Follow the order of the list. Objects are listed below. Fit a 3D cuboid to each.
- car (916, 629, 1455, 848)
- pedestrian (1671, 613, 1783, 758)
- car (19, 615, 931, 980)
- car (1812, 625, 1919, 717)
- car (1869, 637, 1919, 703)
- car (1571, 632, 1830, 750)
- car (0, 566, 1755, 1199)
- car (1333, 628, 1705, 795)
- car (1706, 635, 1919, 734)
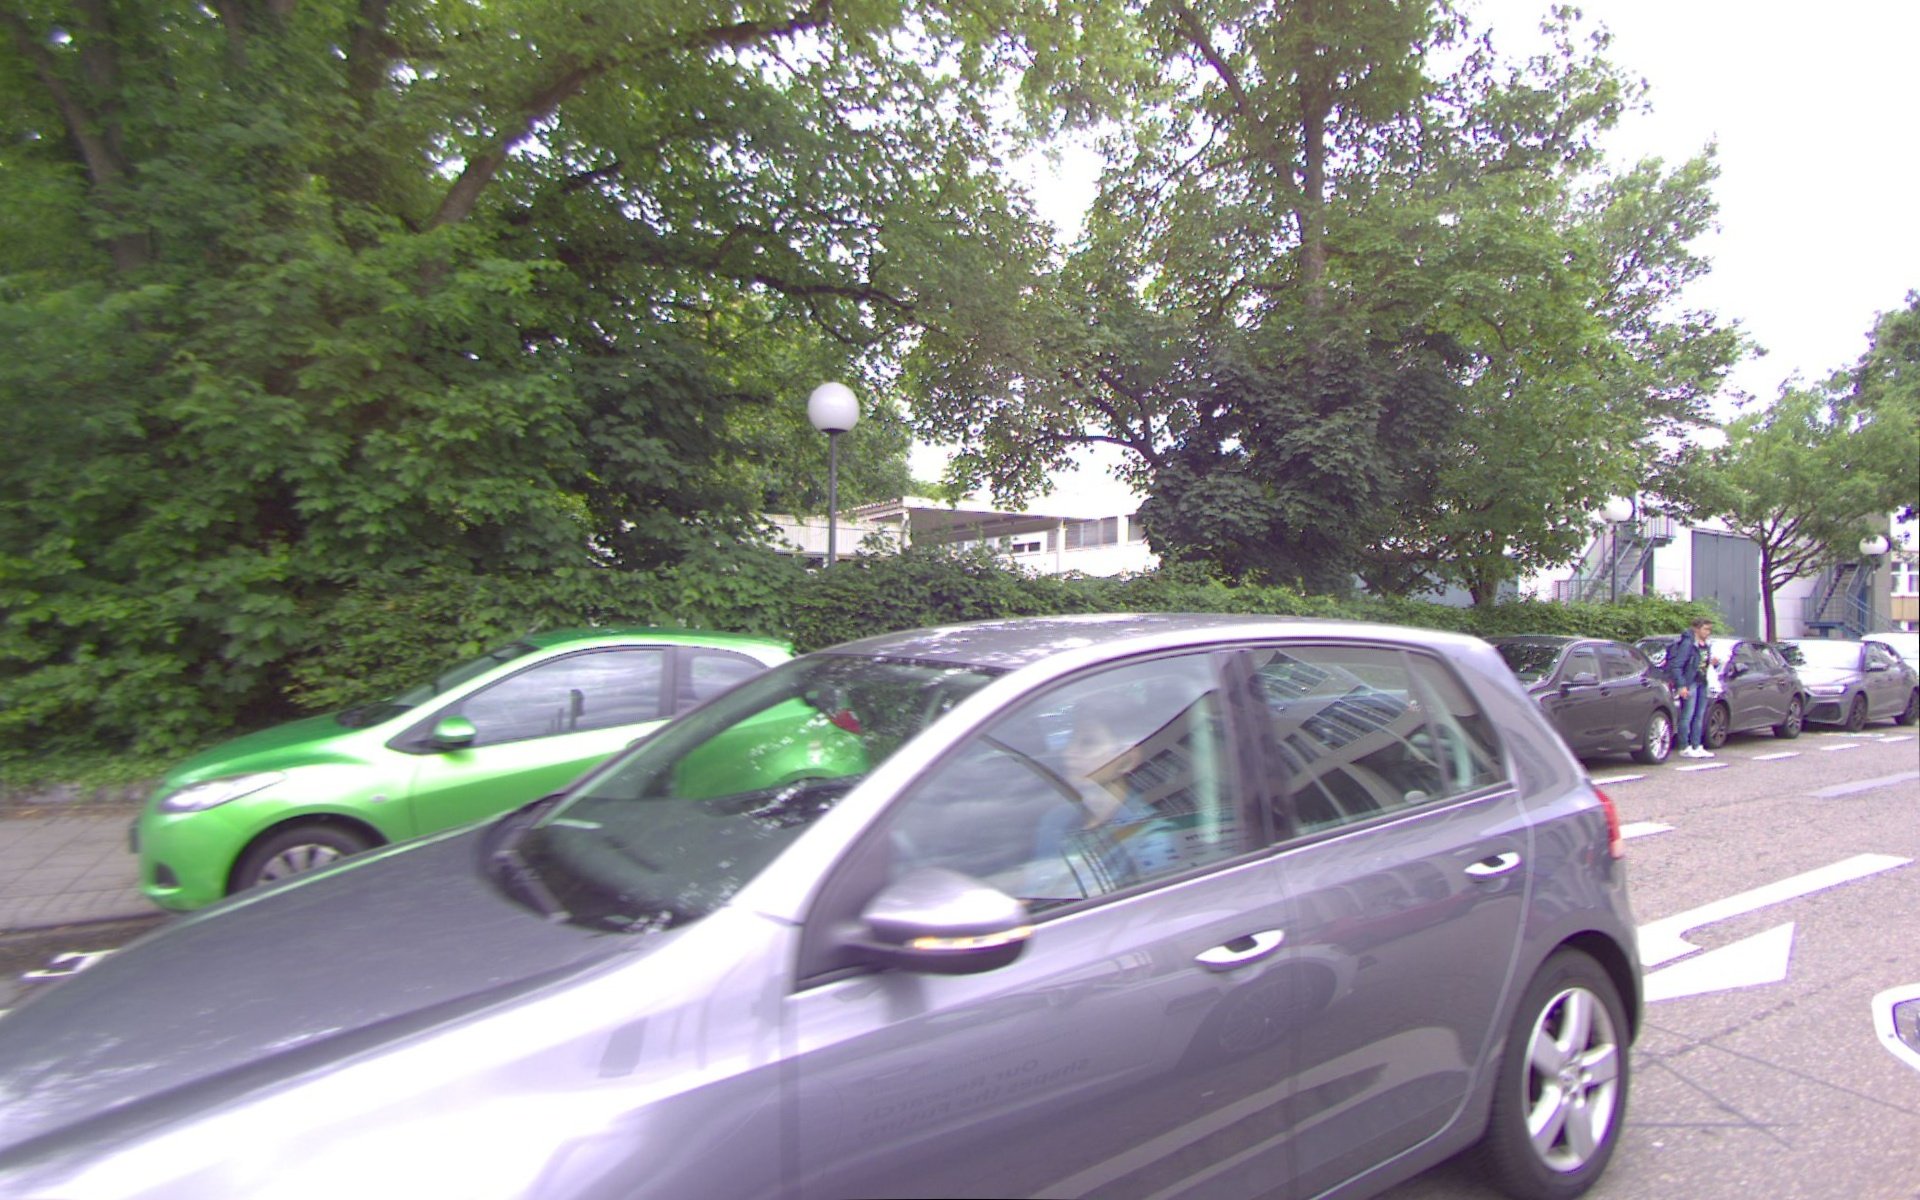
[{"bbox_3d":[1.940,0.985,8.394,4.282,1.426,1.791,2,-2,-28],"label":"car"},{"bbox_3d":[9.338,1.011,12.231,0.956,1.683,0.735,0,-2,-29],"label":"pedestrian"},{"bbox_3d":[-2.438,0.882,5.941,4.197,1.489,1.790,2,-2,-30],"label":"car"},{"bbox_3d":[18.429,1.311,19.601,3.835,1.607,1.706,1,-1,-32],"label":"car"},{"bbox_3d":[22.541,1.567,22.874,4.150,1.407,1.807,1,-1,-34],"label":"car"},{"bbox_3d":[10.765,1.233,14.565,3.782,1.490,1.753,2,-2,-32],"label":"car"},{"bbox_3d":[0.082,0.795,2.573,4.121,1.517,1.774,2,-2,-32],"label":"car"},{"bbox_3d":[6.507,1.124,11.558,4.479,1.581,1.788,1,-2,-32],"label":"car"},{"bbox_3d":[14.331,1.323,16.777,3.965,1.430,1.753,1,-1,-33],"label":"car"}]
